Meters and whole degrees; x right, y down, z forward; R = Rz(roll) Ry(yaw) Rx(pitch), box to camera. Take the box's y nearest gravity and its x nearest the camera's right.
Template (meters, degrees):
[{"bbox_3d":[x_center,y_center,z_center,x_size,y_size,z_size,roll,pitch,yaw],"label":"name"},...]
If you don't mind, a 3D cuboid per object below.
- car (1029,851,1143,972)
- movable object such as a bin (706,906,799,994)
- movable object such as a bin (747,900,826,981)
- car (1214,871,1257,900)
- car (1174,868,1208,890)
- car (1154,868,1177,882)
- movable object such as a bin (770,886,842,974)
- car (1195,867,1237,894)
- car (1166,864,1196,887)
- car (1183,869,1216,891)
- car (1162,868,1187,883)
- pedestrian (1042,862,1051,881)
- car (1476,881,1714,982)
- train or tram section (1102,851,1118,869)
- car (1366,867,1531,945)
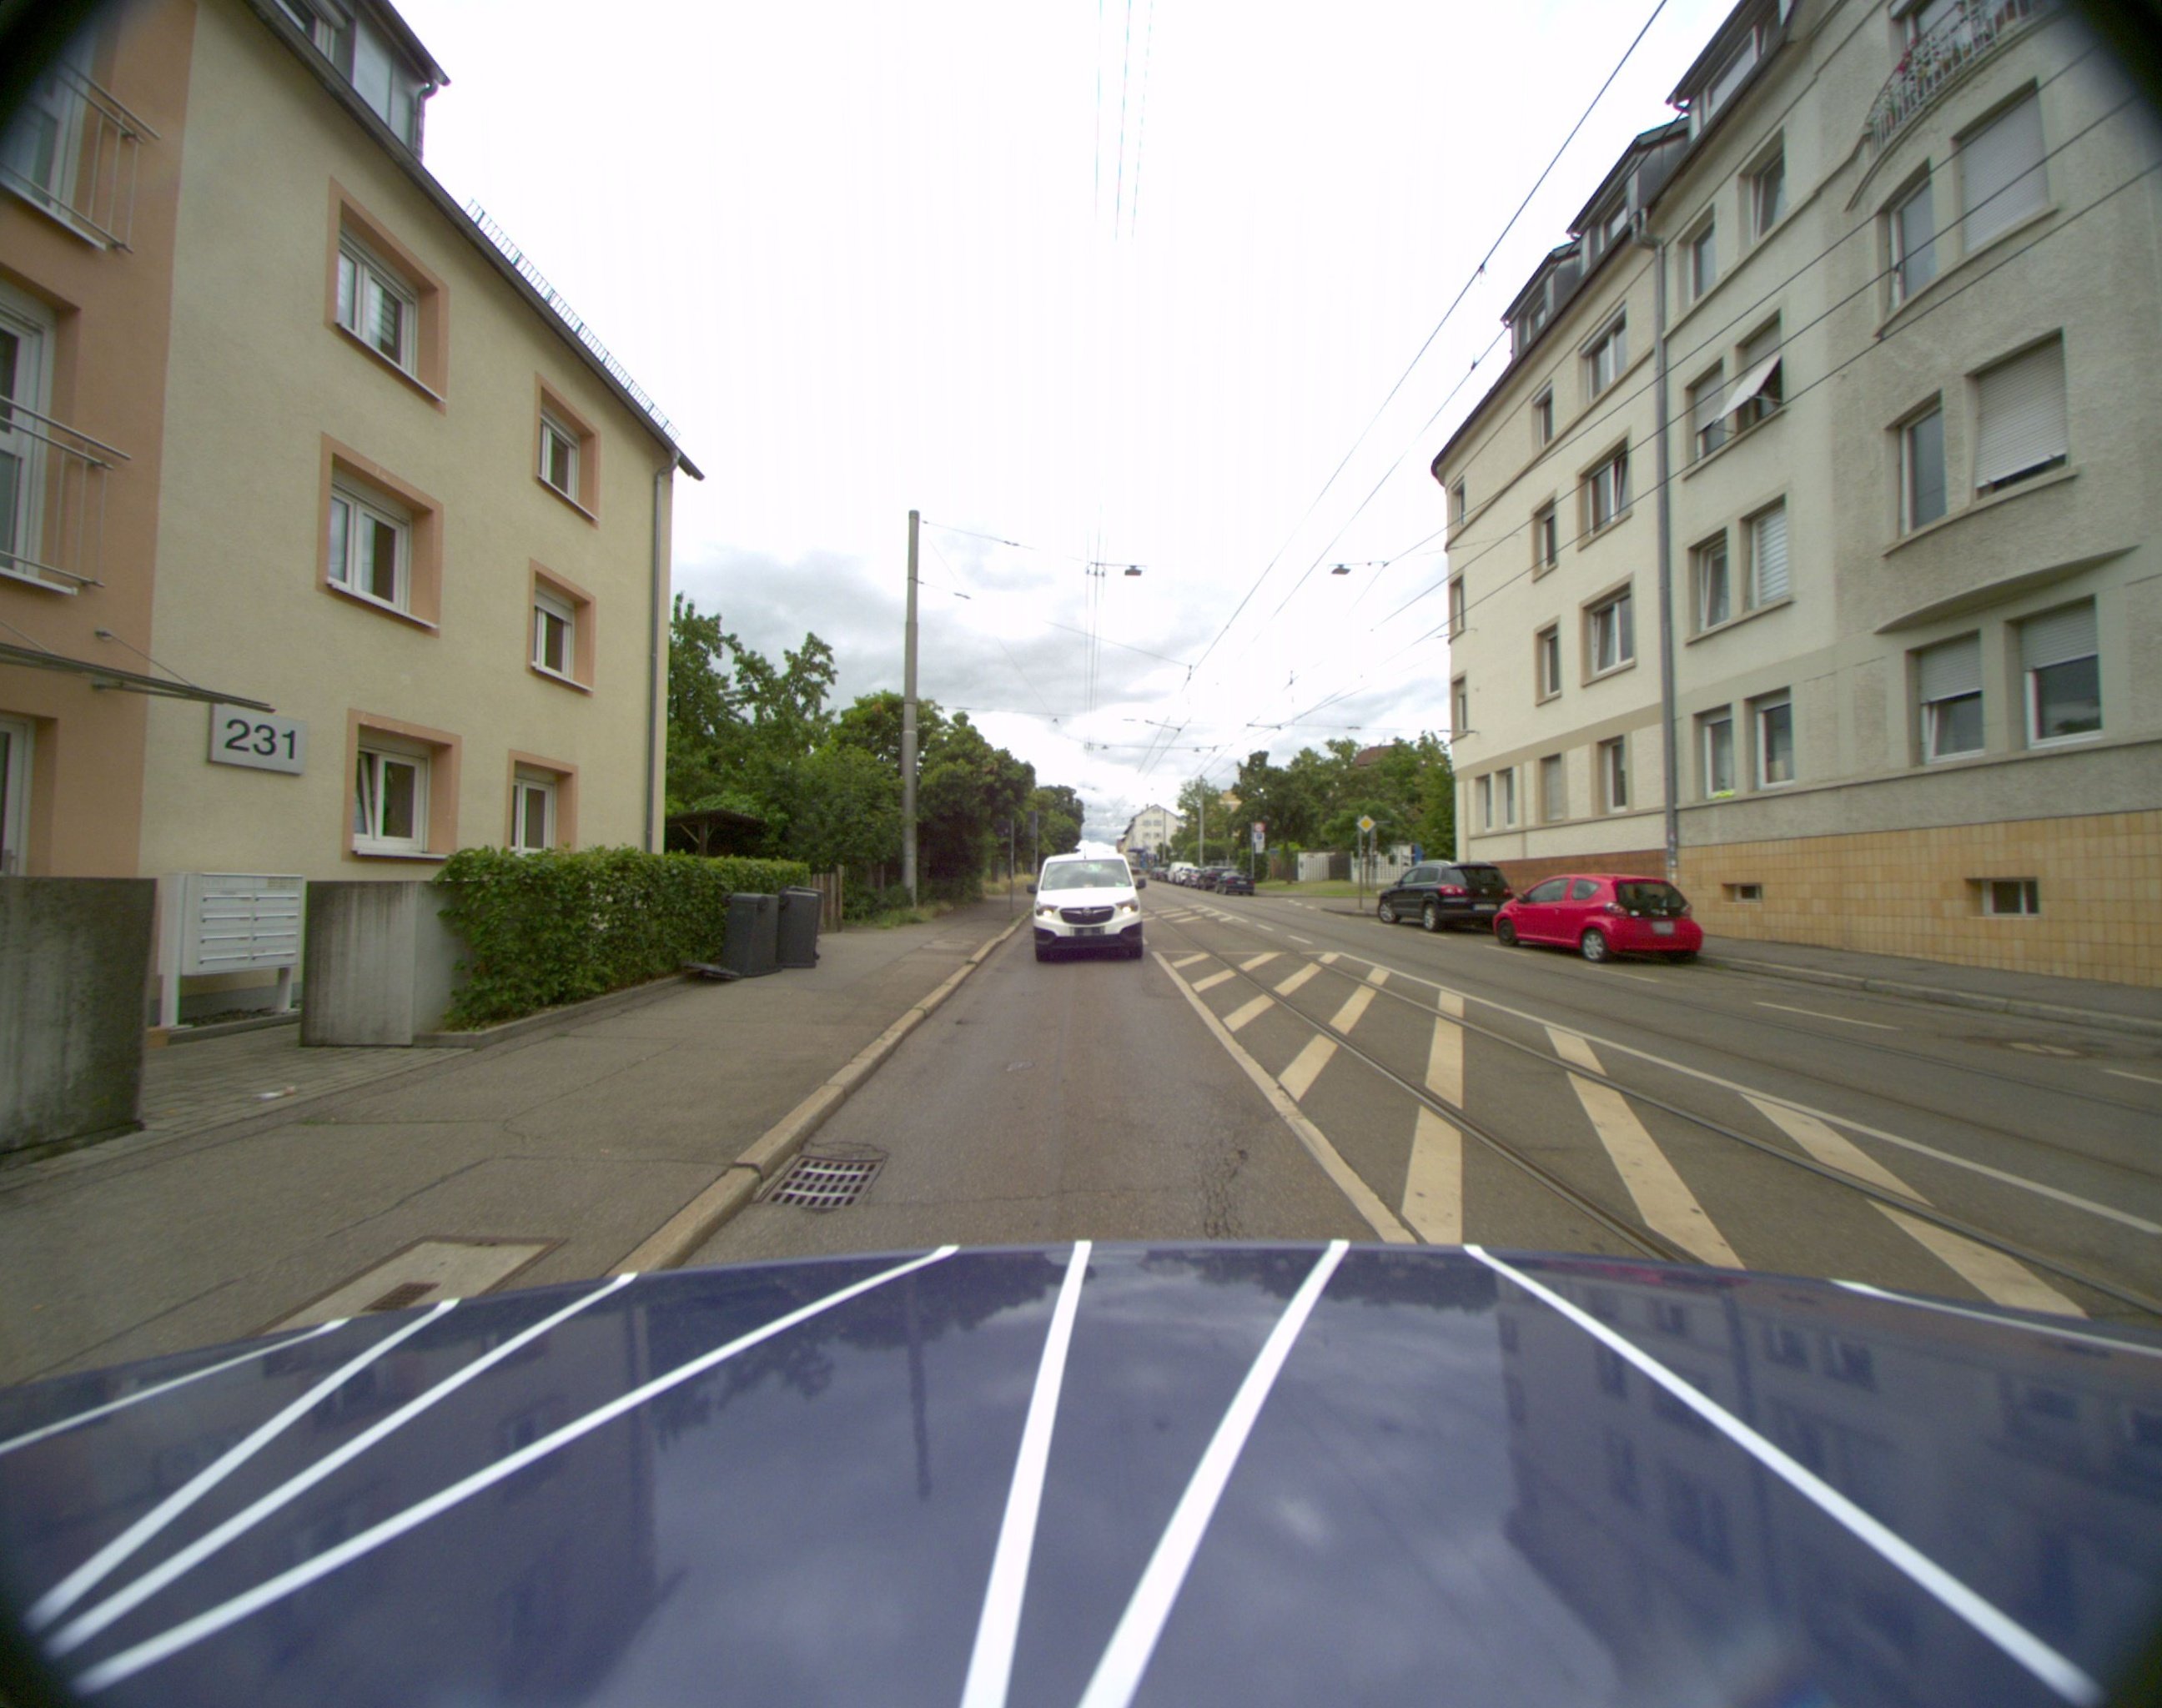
[{"bbox_3d":[0.126,0.926,13.892,1.730,1.850,4.421,0,-1,1],"label":"car"},{"bbox_3d":[-4.081,1.184,9.502,0.794,1.006,0.789,0,0,2],"label":"movable object such as a bin"},{"bbox_3d":[-3.977,1.154,10.325,0.794,1.006,0.789,0,0,-3],"label":"movable object such as a bin"},{"bbox_3d":[8.922,1.797,44.152,1.625,1.469,4.156,0,0,-1],"label":"car"},{"bbox_3d":[8.941,2.034,62.195,1.974,1.676,4.632,0,0,-1],"label":"car"},{"bbox_3d":[8.858,2.228,80.260,1.845,1.379,4.439,0,0,-1],"label":"car"},{"bbox_3d":[-4.016,1.096,11.151,0.794,1.211,0.789,0,0,-3],"label":"movable object such as a bin"},{"bbox_3d":[8.962,1.722,50.801,1.974,1.676,4.444,0,0,-1],"label":"car"},{"bbox_3d":[8.980,1.891,68.446,1.974,1.901,4.734,0,0,-1],"label":"car"},{"bbox_3d":[8.839,1.952,56.961,1.743,1.500,3.869,0,0,-1],"label":"car"},{"bbox_3d":[9.030,2.081,73.880,1.845,1.379,4.517,0,0,-1],"label":"car"},{"bbox_3d":[-2.909,1.474,64.176,0.716,1.611,0.719,0,0,0],"label":"pedestrian"},{"bbox_3d":[9.002,1.276,13.726,1.625,1.454,3.744,0,0,-3],"label":"car"},{"bbox_3d":[6.061,1.340,159.938,2.857,3.614,12.131,0,-1,0],"label":"train or tram section"},{"bbox_3d":[8.872,1.178,18.826,1.872,1.636,4.402,0,0,-1],"label":"car"}]
